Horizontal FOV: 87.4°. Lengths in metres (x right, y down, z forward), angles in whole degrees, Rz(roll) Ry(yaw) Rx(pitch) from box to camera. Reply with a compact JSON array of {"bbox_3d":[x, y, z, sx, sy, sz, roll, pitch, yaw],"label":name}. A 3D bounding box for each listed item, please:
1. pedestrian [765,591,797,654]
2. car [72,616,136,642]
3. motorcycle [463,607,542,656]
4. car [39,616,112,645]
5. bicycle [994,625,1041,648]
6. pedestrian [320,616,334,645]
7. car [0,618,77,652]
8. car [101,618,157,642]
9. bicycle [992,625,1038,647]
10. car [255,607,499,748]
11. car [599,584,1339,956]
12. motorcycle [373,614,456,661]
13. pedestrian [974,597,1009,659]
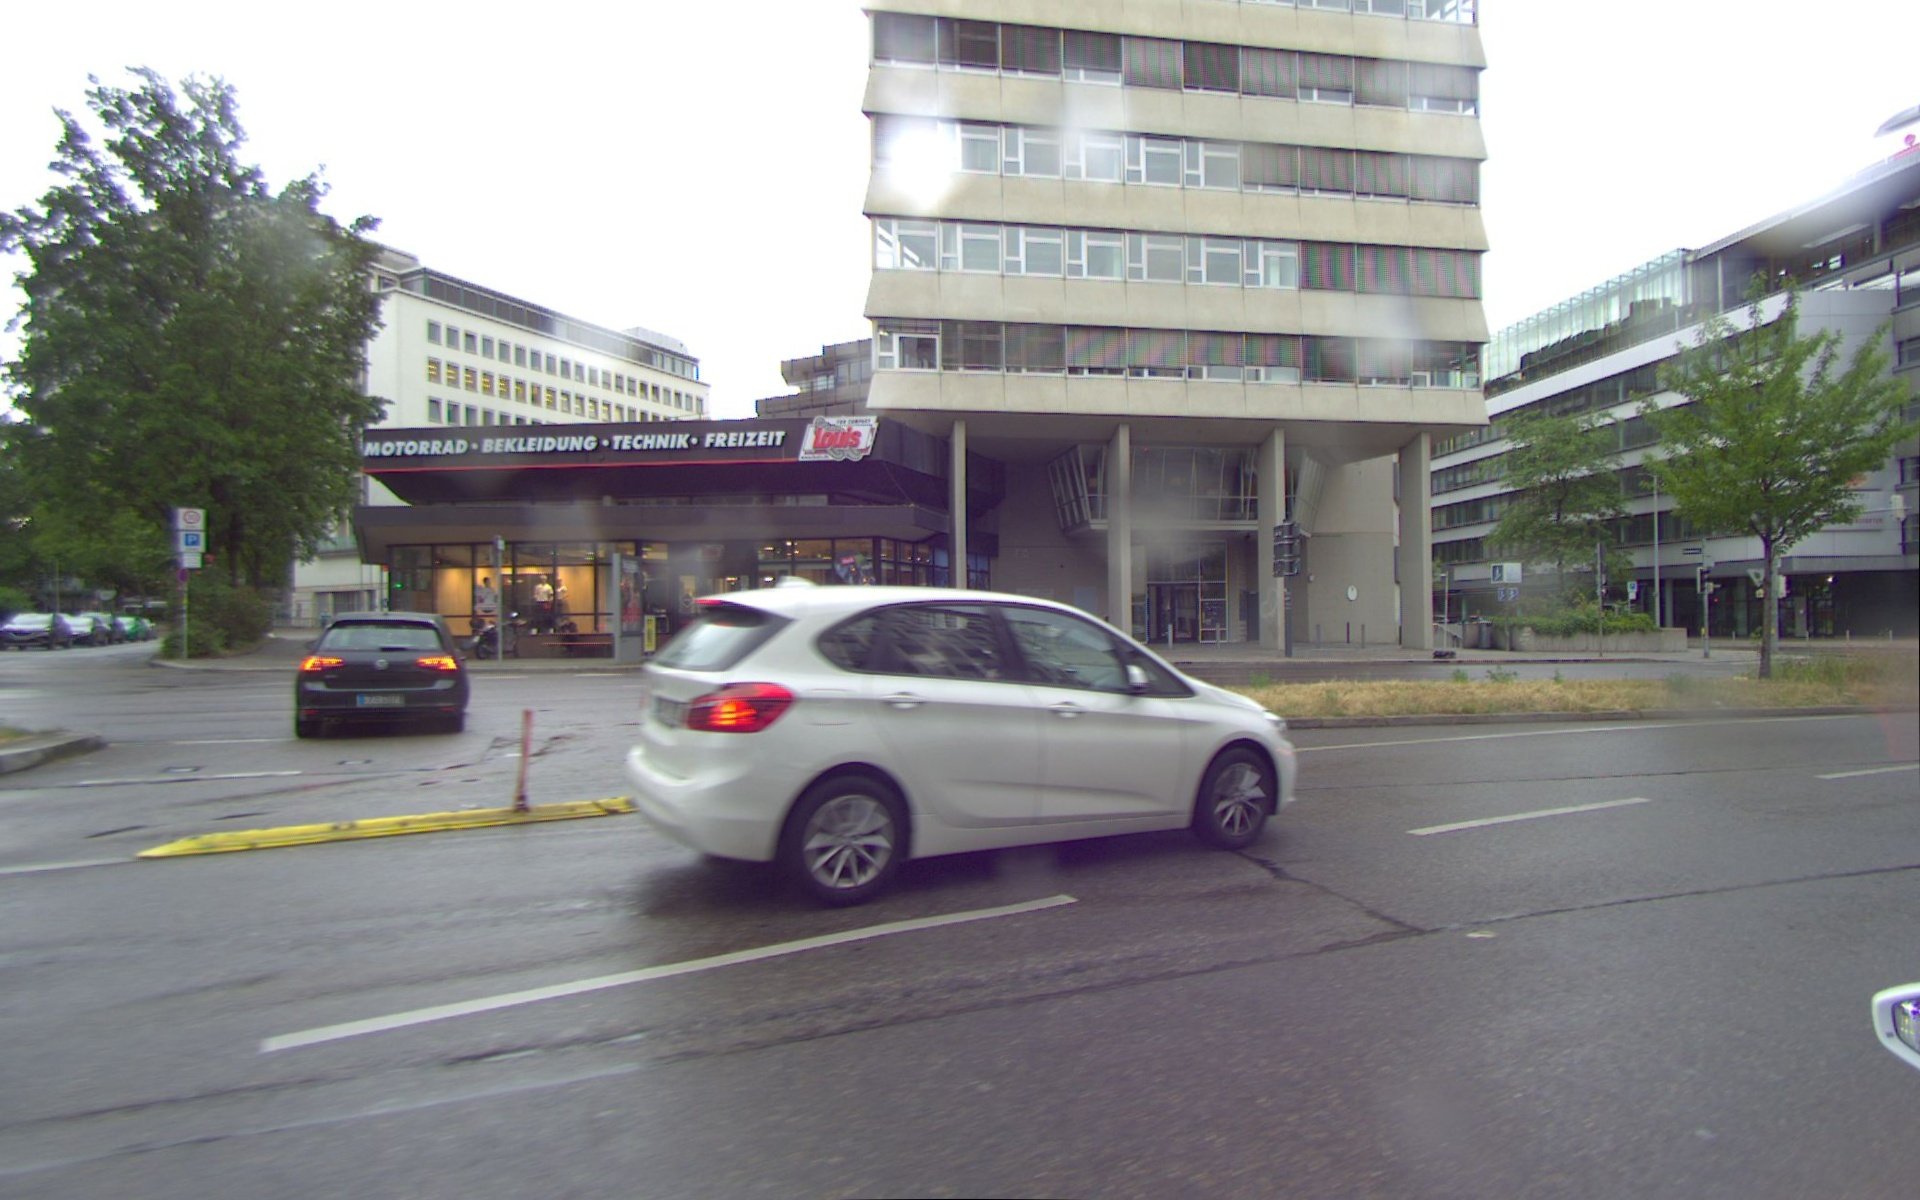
[{"bbox_3d":[-5.276,0.662,29.636,0.908,1.857,0.818,0,0,-10],"label":"pedestrian"},{"bbox_3d":[-46.056,1.544,54.125,1.825,1.305,3.969,1,0,-29],"label":"car"},{"bbox_3d":[-13.914,0.924,30.648,0.788,1.392,2.894,1,0,6],"label":"motorcycle"},{"bbox_3d":[-43.032,1.473,48.955,1.825,1.305,3.969,1,0,-29],"label":"car"},{"bbox_3d":[2.224,1.404,38.774,1.741,0.823,0.454,1,0,-9],"label":"bicycle"},{"bbox_3d":[-42.569,2.036,67.590,0.721,1.948,0.917,1,0,-30],"label":"pedestrian"},{"bbox_3d":[-40.383,1.501,43.982,1.826,1.305,3.967,1,0,-31],"label":"car"},{"bbox_3d":[-48.653,1.748,58.874,1.825,1.305,3.969,1,0,-29],"label":"car"},{"bbox_3d":[2.147,1.406,39.360,1.741,0.823,0.454,1,0,-9],"label":"bicycle"},{"bbox_3d":[-7.246,0.895,13.017,1.816,1.470,4.669,1,-2,-19],"label":"car"},{"bbox_3d":[0.157,0.763,6.147,4.236,1.594,1.775,1,-1,-30],"label":"car"},{"bbox_3d":[-16.830,1.135,31.118,0.709,1.351,2.822,1,0,8],"label":"motorcycle"},{"bbox_3d":[0.951,0.840,30.305,0.908,1.857,0.728,1,-1,-10],"label":"pedestrian"}]
